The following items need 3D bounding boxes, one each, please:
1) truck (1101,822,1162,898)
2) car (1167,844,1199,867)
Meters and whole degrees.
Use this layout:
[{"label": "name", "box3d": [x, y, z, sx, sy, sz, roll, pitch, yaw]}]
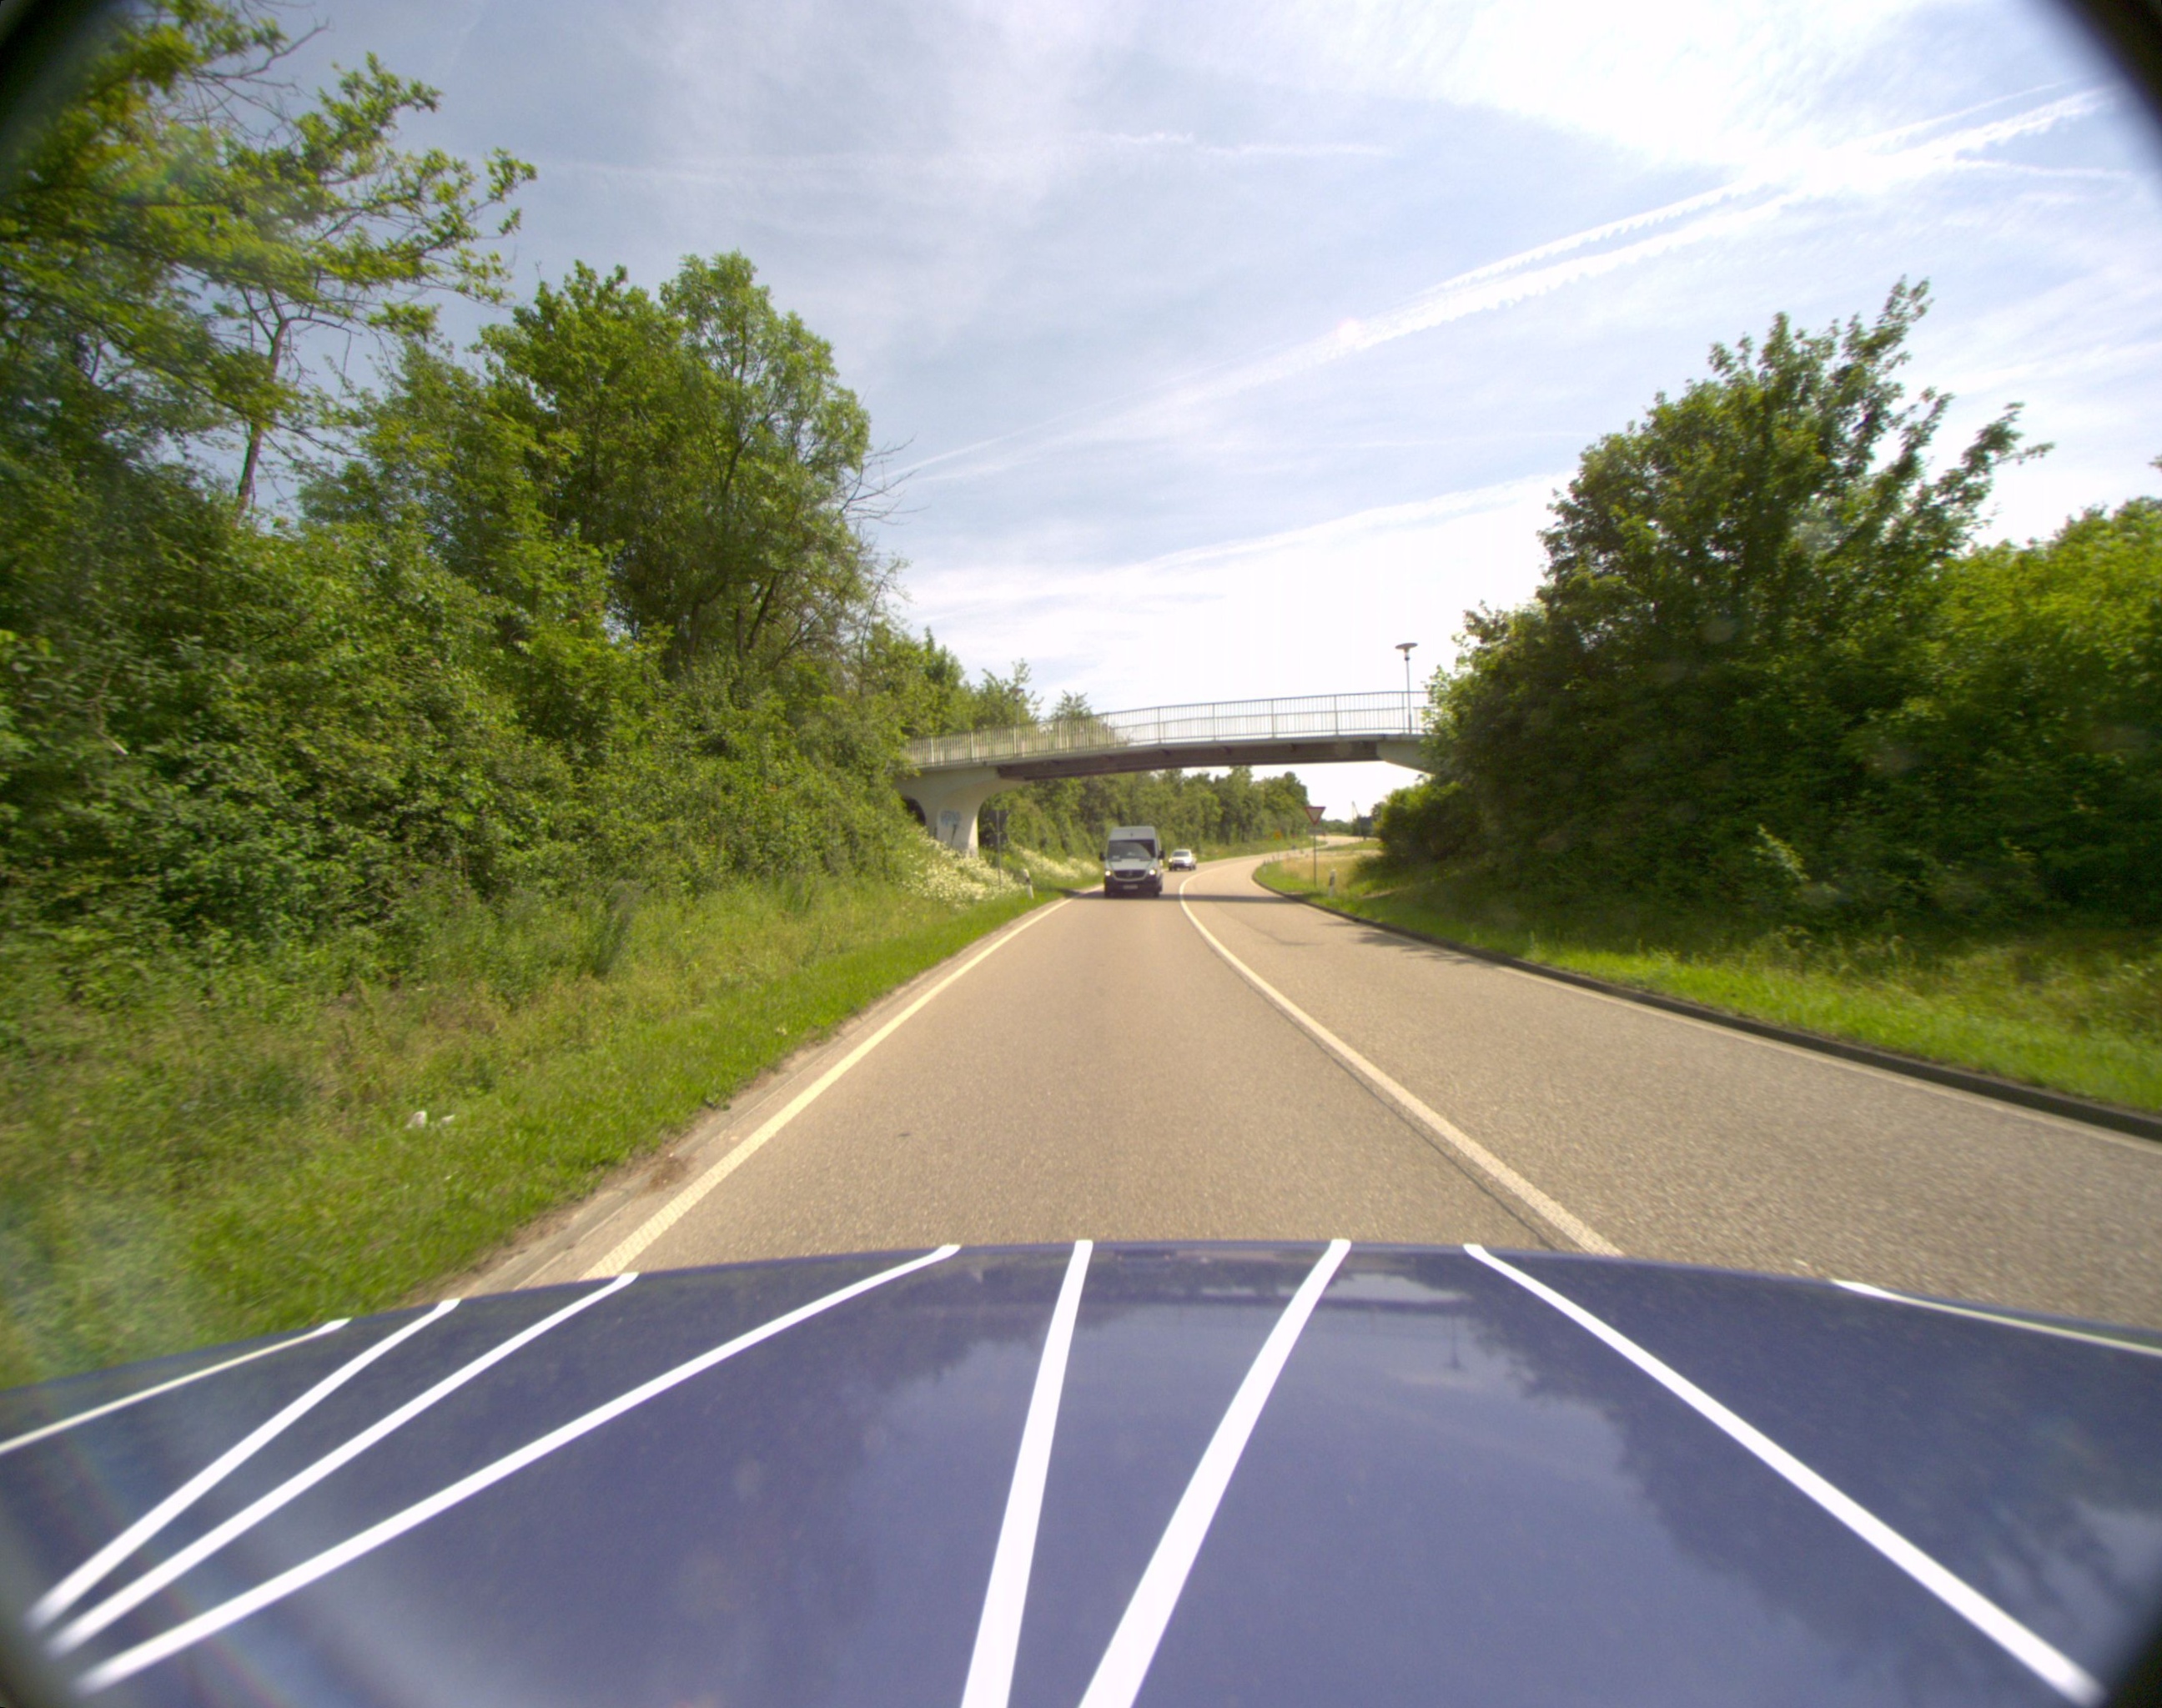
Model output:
[{"label": "truck", "box3d": [1.938, 0.187, 29.032, 1.998, 2.571, 5.888, -2, 1, 4]}, {"label": "car", "box3d": [8.196, 0.118, 60.789, 1.846, 1.698, 4.093, -2, 1, 17]}]
